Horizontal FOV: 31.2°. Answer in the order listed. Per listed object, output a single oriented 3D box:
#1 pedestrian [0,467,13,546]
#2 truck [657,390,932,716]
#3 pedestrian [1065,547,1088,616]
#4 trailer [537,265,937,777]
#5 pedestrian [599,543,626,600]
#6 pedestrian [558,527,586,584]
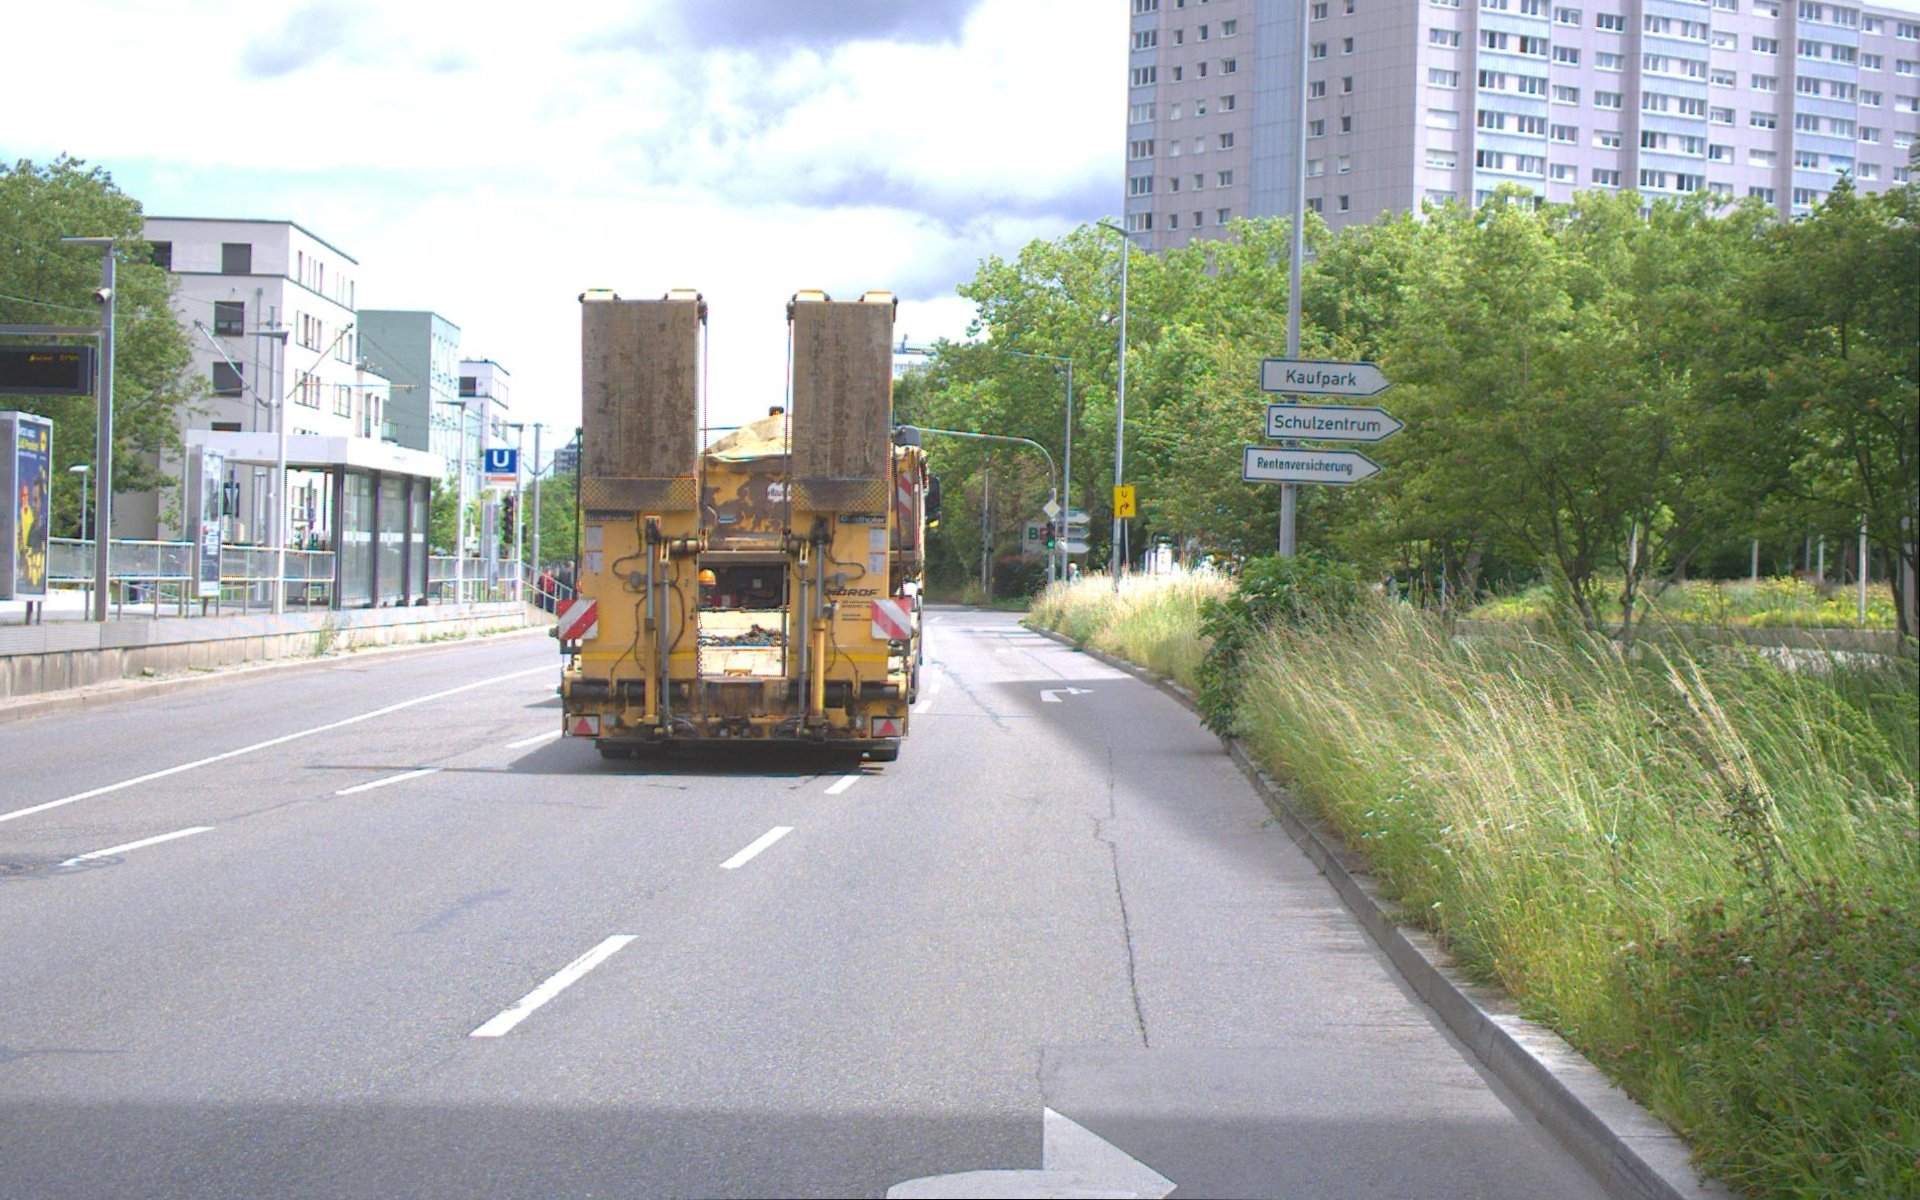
[{"bbox_3d":[-21.789,-2.116,77.463,0.675,1.759,0.934,2,1,-4],"label":"pedestrian"},{"bbox_3d":[-1.776,-0.572,39.766,2.753,3.302,8.352,2,1,-1],"label":"truck"},{"bbox_3d":[3.425,-0.548,101.125,0.561,2.007,0.492,1,0,-10],"label":"pedestrian"},{"bbox_3d":[-1.650,-0.675,29.947,2.729,3.546,11.255,2,1,-1],"label":"trailer"},{"bbox_3d":[-10.356,-0.861,102.468,0.681,1.664,0.823,2,1,-2],"label":"pedestrian"},{"bbox_3d":[-11.027,-1.258,97.779,0.681,1.597,0.823,2,1,-2],"label":"pedestrian"}]
